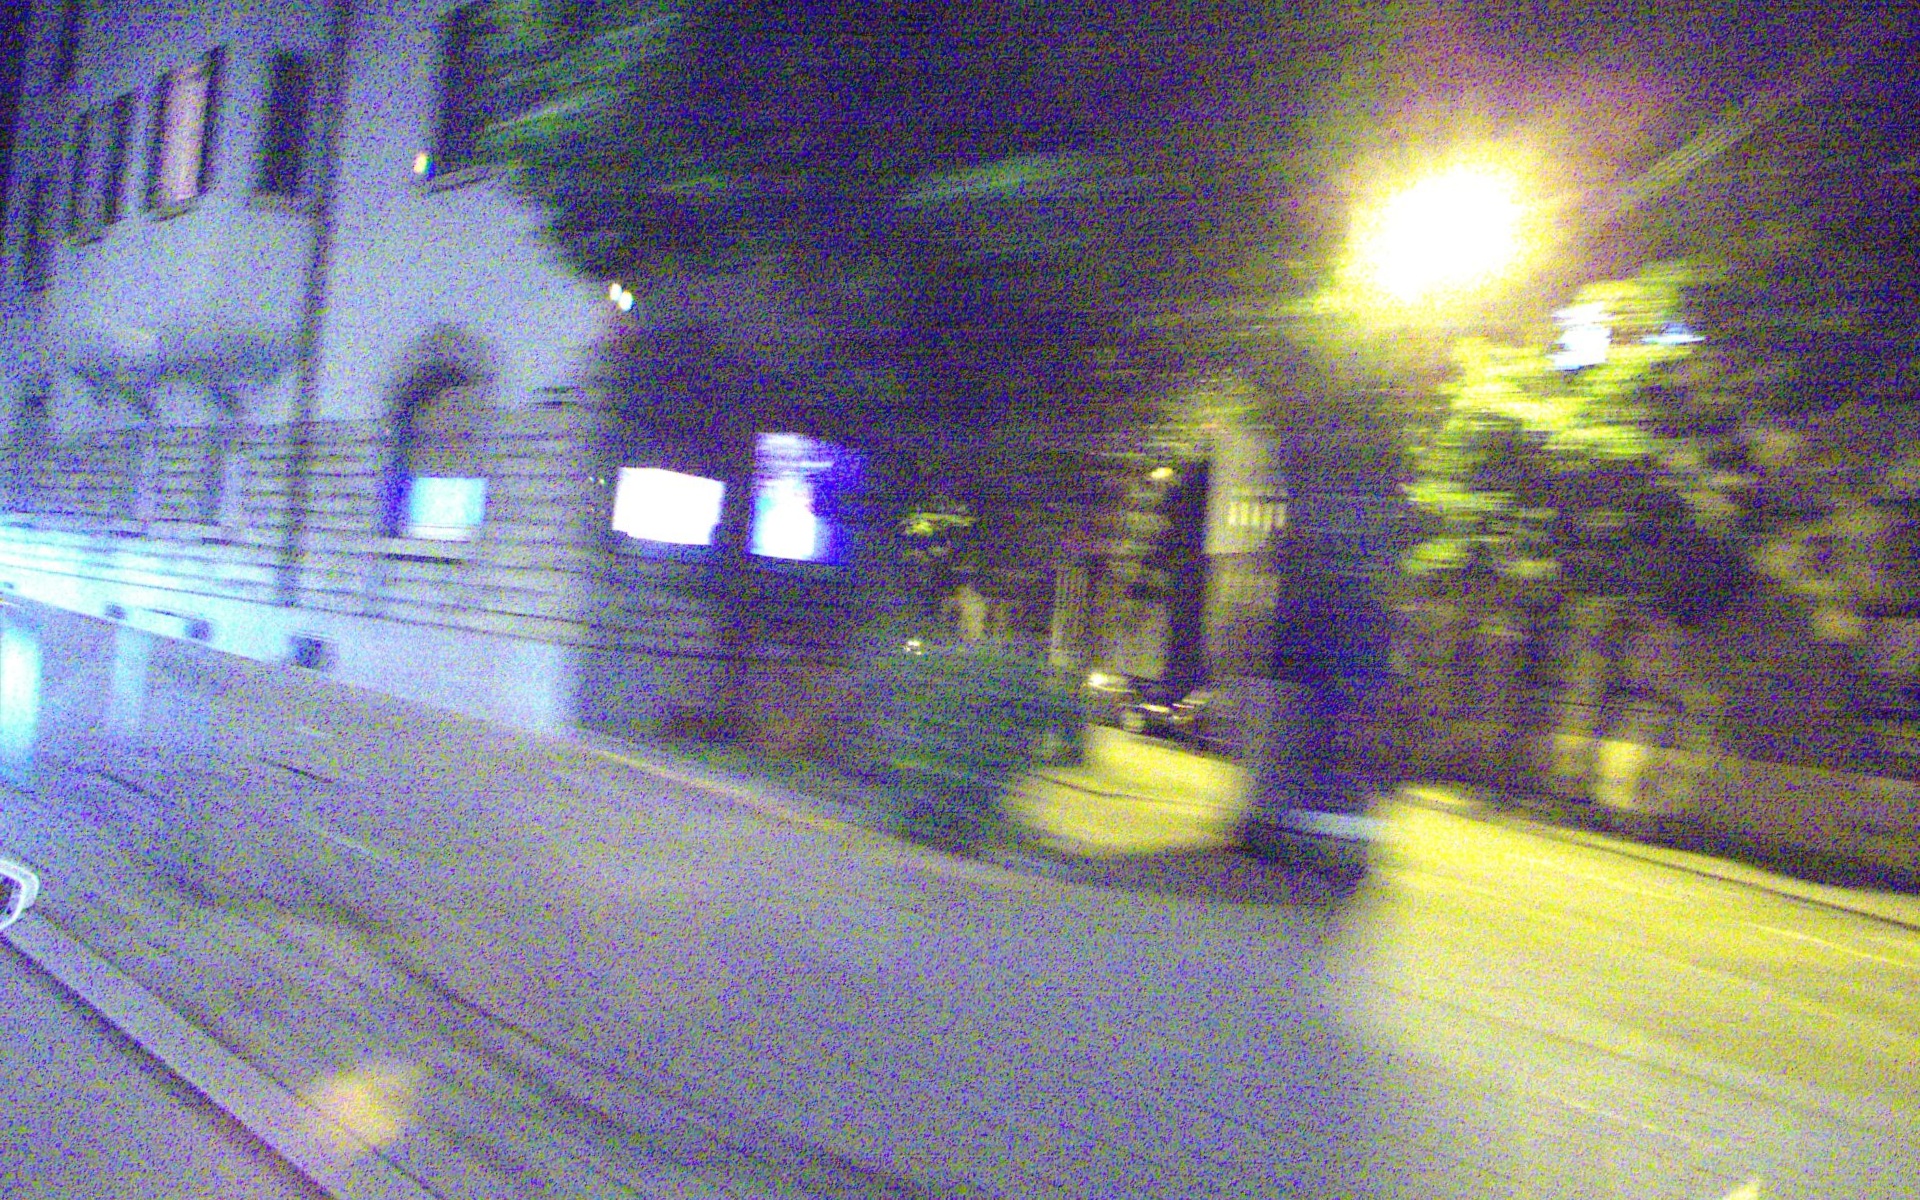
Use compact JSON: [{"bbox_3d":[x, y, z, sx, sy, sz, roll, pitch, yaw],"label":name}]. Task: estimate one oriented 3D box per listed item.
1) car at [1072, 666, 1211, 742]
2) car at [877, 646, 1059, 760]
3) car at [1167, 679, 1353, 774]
[{"bbox_3d":[4.690,2.691,26.539,1.778,1.433,3.821,8,-2,-21],"label":"car"},{"bbox_3d":[0.016,1.727,17.645,1.778,1.433,3.821,8,-2,-21],"label":"car"},{"bbox_3d":[6.385,2.685,21.862,1.778,1.433,3.821,8,-2,-21],"label":"car"}]
